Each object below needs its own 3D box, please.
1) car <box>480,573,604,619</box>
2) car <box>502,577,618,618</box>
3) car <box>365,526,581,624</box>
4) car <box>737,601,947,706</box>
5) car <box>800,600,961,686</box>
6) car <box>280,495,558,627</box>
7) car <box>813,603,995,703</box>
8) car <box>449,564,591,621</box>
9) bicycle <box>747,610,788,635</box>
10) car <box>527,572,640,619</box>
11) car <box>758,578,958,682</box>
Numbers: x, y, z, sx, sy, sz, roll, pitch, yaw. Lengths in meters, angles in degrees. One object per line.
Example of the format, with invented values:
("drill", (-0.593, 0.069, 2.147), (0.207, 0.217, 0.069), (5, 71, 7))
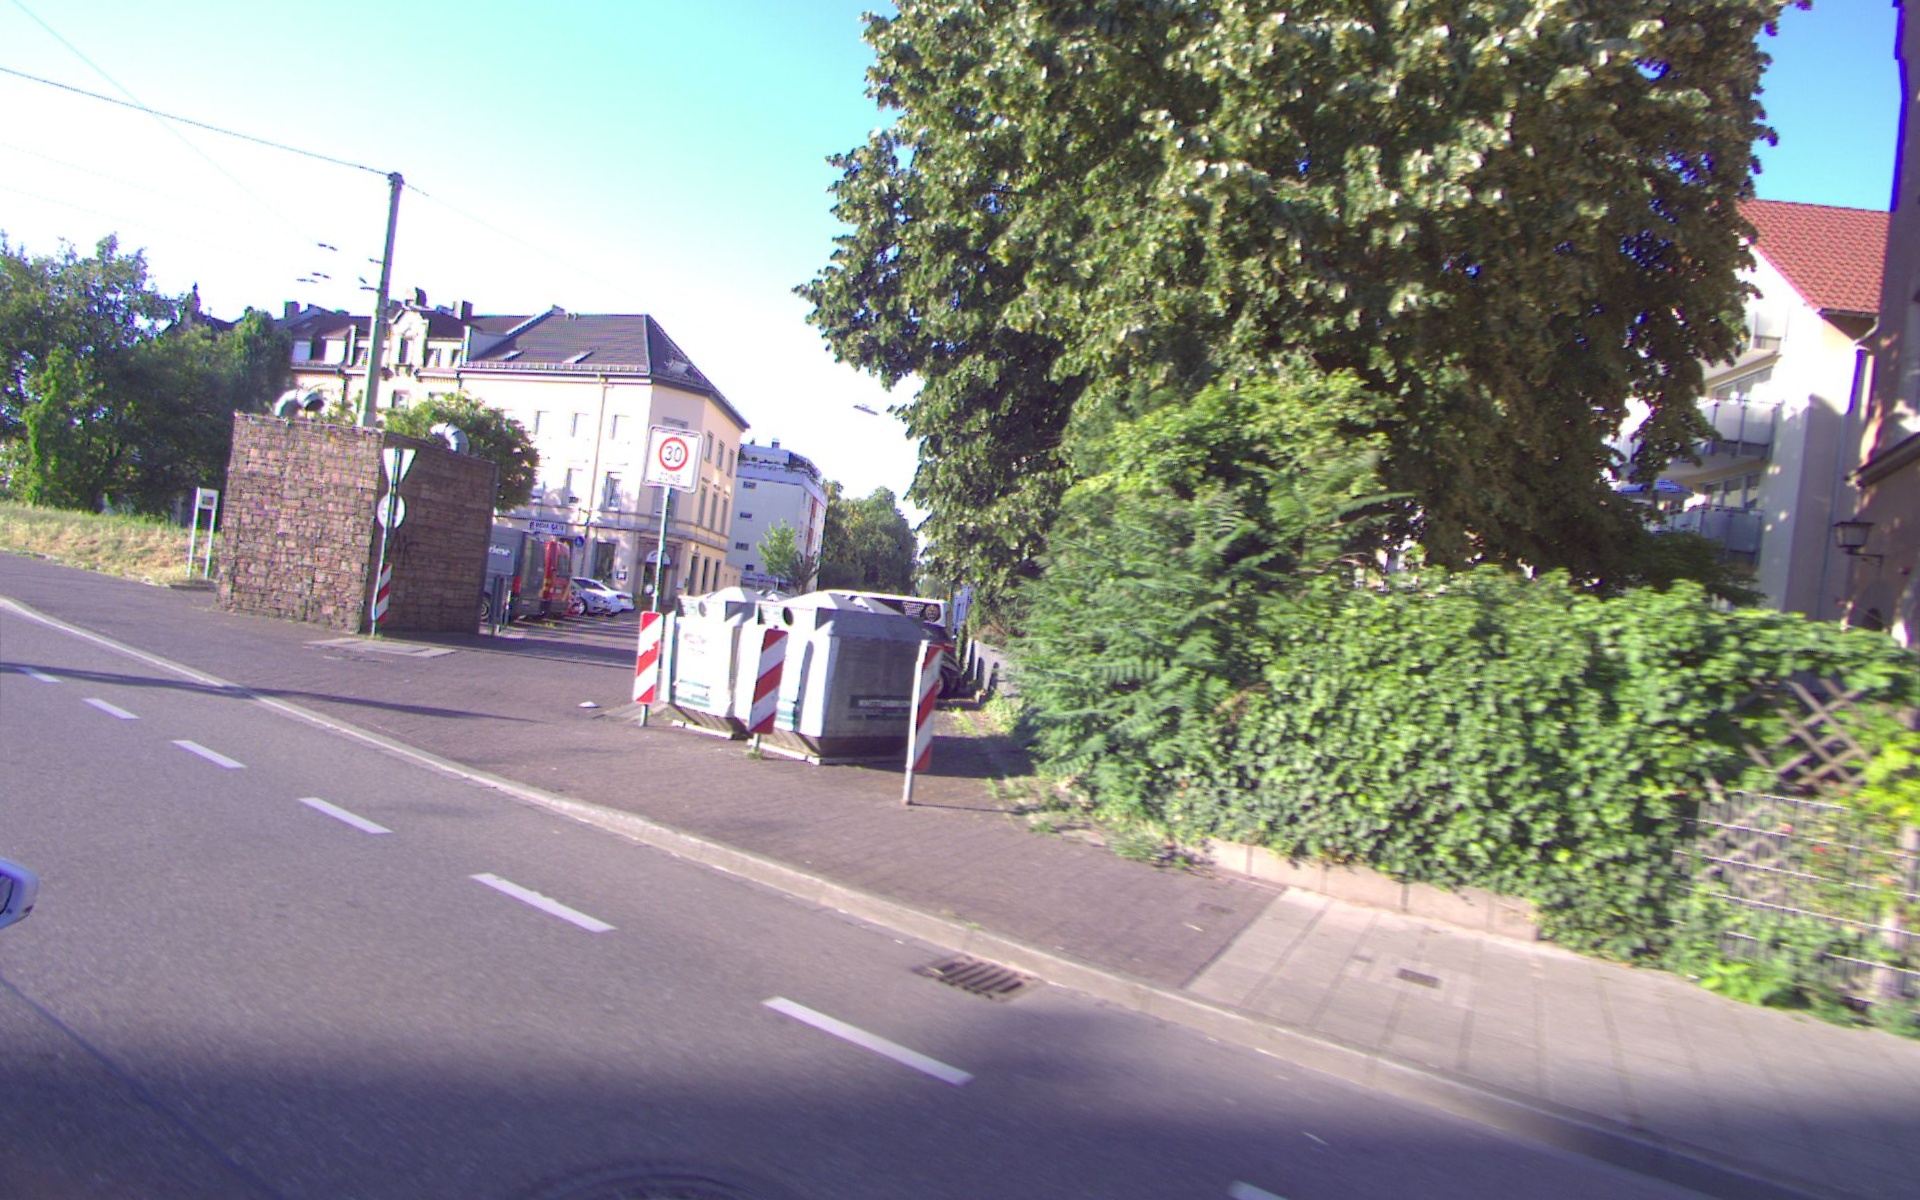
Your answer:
("car", (-14.883, -0.115, 35.999), (3.641, 1.175, 1.705), (7, -1, -5))
("car", (-15.120, -0.077, 38.179), (3.641, 1.103, 1.705), (7, -1, -5))
("car", (-14.636, -0.717, 30.526), (5.319, 2.241, 2.042), (7, 0, -5))
("car", (-2.027, 0.916, 17.754), (3.383, 1.373, 1.630), (7, -1, -4))
("car", (-1.781, 0.955, 22.796), (3.383, 1.476, 1.630), (7, -1, -4))
("car", (-14.498, -1.000, 27.302), (6.104, 2.699, 2.042), (7, 0, -5))
("car", (-1.122, 1.061, 20.390), (3.383, 1.555, 1.631), (7, -1, -4))
("car", (-14.568, -0.223, 33.484), (3.820, 1.390, 1.778), (7, 0, -5))
("bicycle", (-9.367, 1.089, 48.974), (1.796, 0.981, 0.490), (7, 0, -3))
("car", (-15.248, -0.170, 40.914), (3.820, 1.390, 1.778), (7, 0, -5))
("car", (-2.566, 0.755, 25.537), (4.666, 2.003, 1.925), (7, 0, -7))
